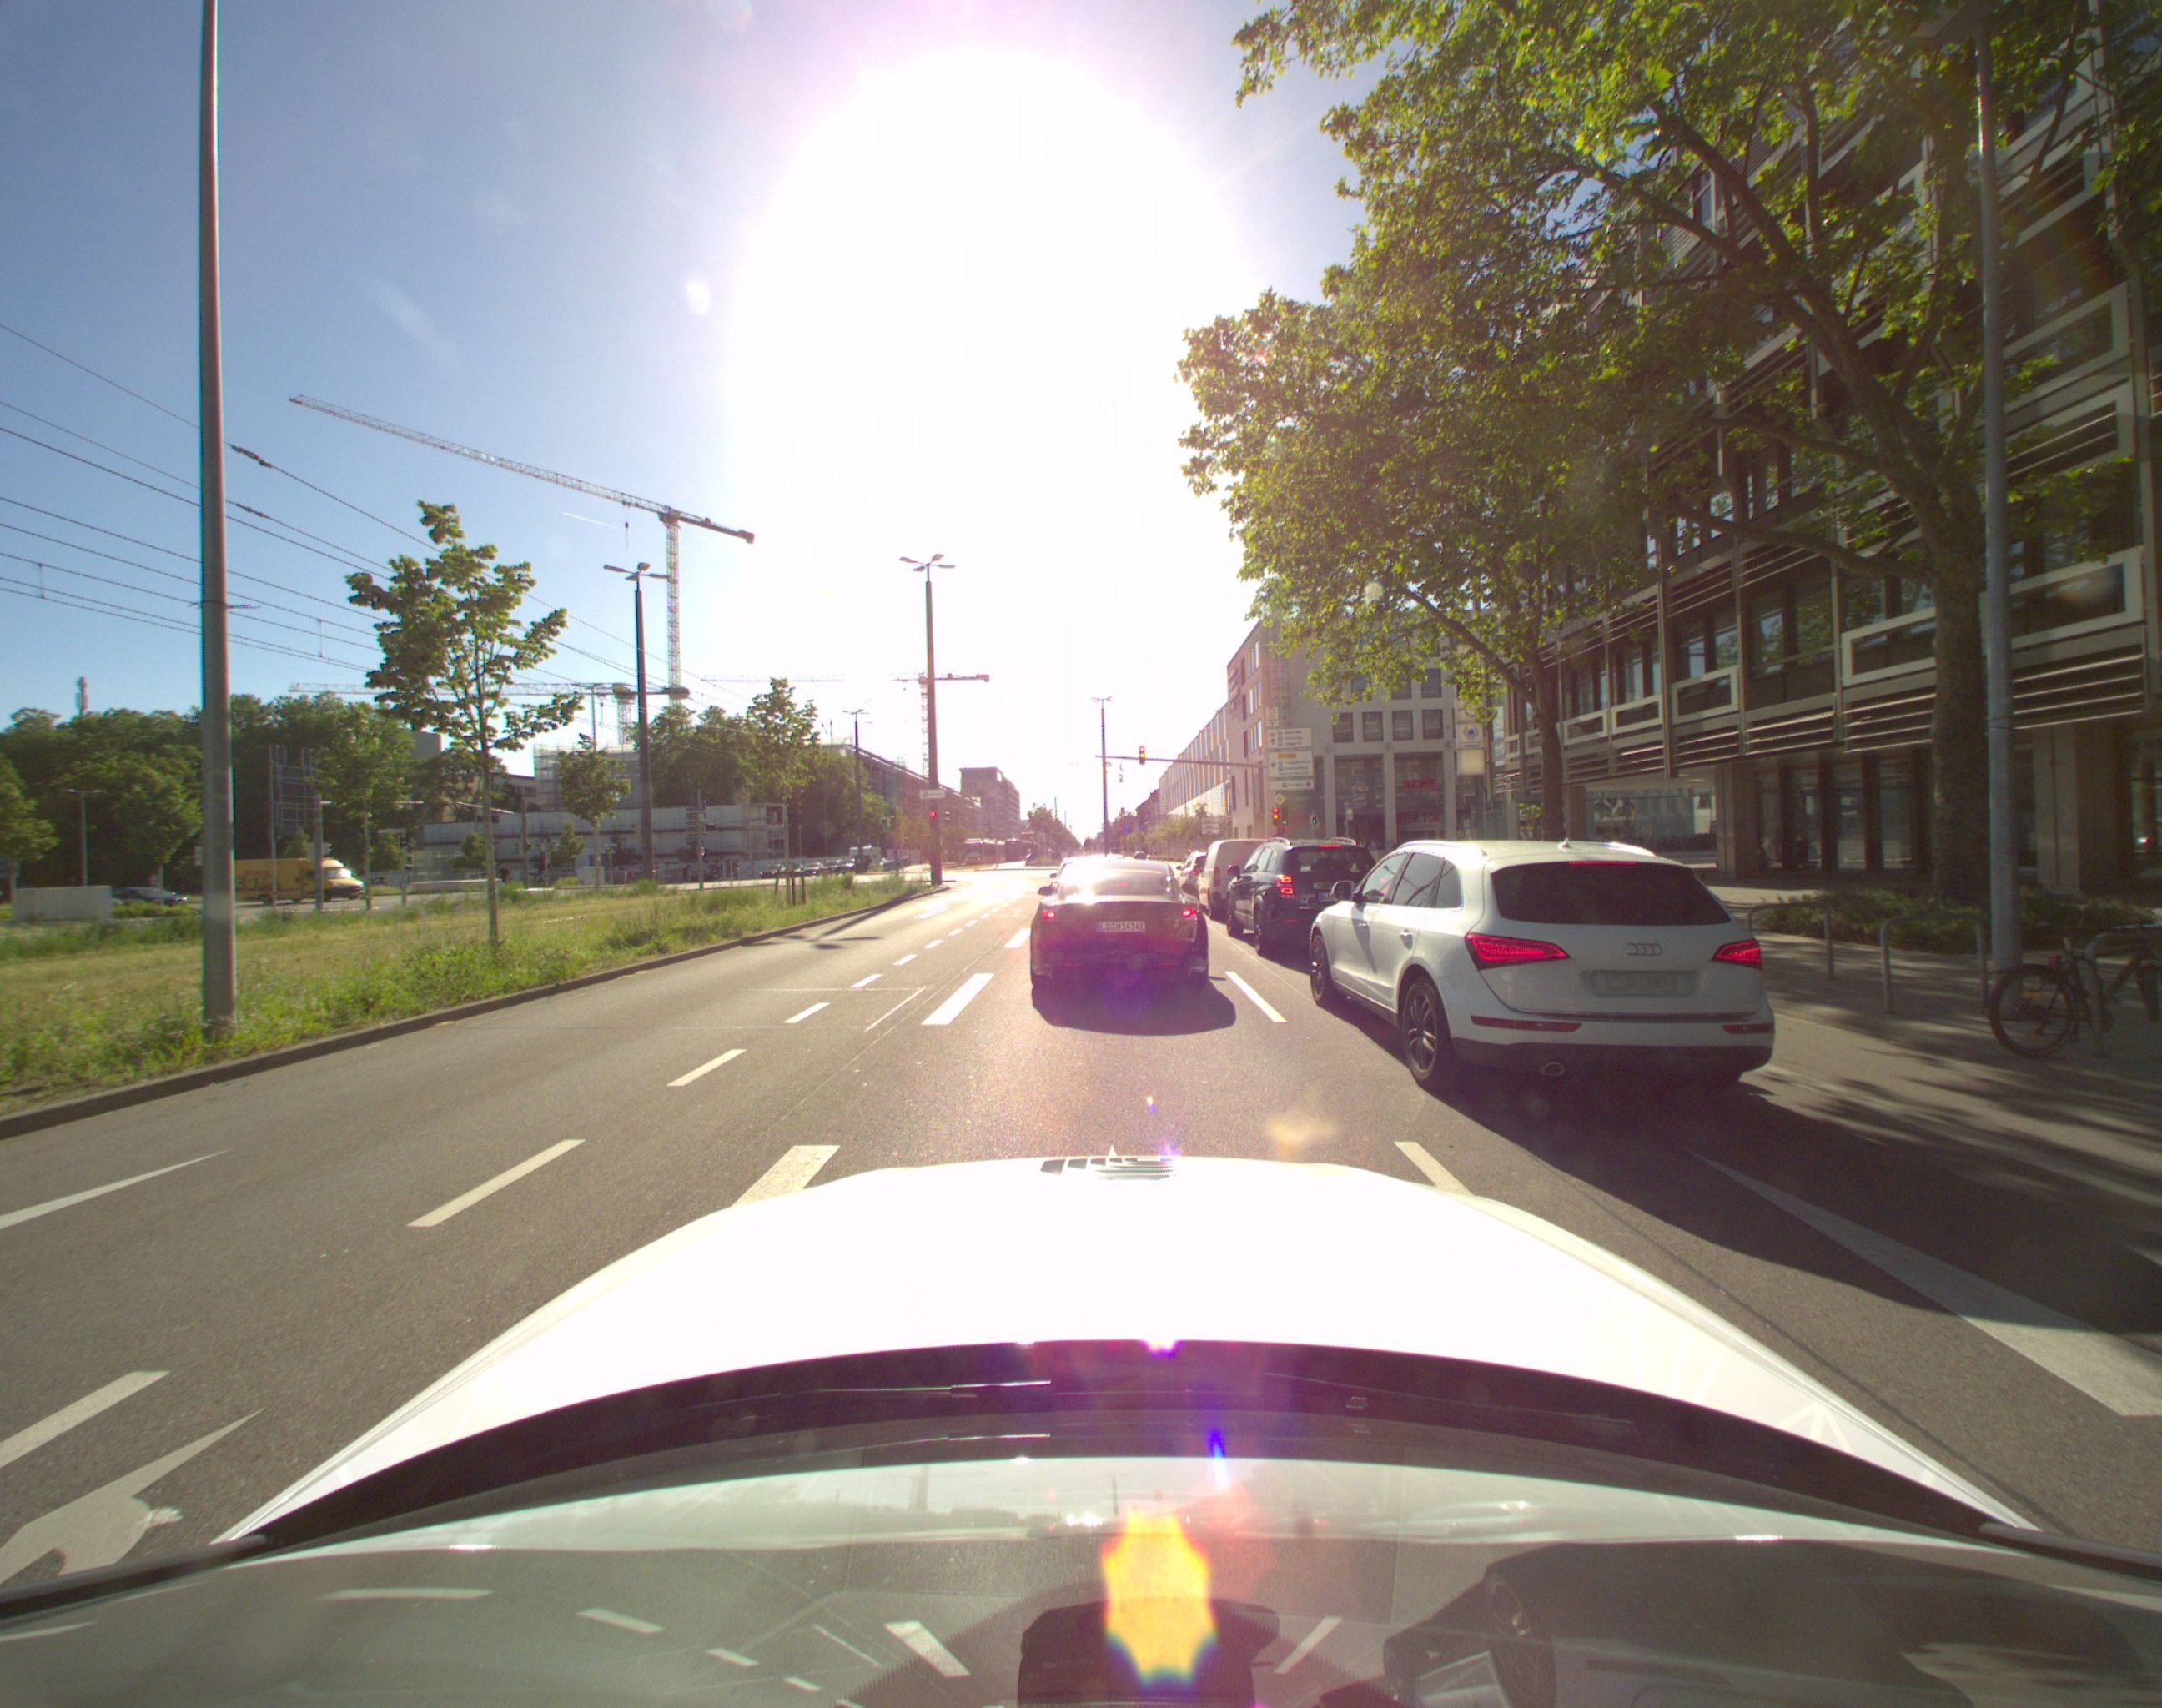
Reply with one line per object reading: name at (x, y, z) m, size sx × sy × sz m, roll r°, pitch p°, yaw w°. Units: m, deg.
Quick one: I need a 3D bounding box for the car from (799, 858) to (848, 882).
car at (-12.939, 0.795, 41.114) m, size 1.371 × 1.178 × 3.220 m, roll 0°, pitch -1°, yaw 1°

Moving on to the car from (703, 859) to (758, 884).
car at (-17.767, 0.872, 41.398) m, size 1.371 × 1.178 × 3.220 m, roll 0°, pitch -1°, yaw 1°

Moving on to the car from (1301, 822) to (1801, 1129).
car at (3.081, 0.640, 6.472) m, size 1.714 × 1.618 × 4.190 m, roll -2°, pitch 0°, yaw 3°

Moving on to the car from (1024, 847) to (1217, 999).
car at (0.427, 0.681, 10.241) m, size 1.905 × 1.486 × 4.010 m, roll -2°, pitch 0°, yaw 1°

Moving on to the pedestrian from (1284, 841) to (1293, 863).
pedestrian at (13.934, -0.140, 54.687) m, size 0.559 × 1.440 × 0.633 m, roll 0°, pitch -1°, yaw 8°

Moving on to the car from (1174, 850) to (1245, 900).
car at (4.041, 0.616, 26.173) m, size 1.715 × 1.431 × 4.188 m, roll -2°, pitch 0°, yaw 2°

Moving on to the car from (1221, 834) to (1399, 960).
car at (3.454, 0.563, 13.086) m, size 1.715 × 1.653 × 4.187 m, roll -2°, pitch 0°, yaw 1°

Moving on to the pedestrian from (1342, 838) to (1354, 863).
pedestrian at (15.995, -0.208, 48.798) m, size 0.559 × 1.440 × 0.633 m, roll 0°, pitch -1°, yaw 8°

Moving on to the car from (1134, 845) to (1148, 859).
car at (9.053, -0.286, 122.566) m, size 1.986 × 2.014 × 4.001 m, roll 0°, pitch -1°, yaw 2°

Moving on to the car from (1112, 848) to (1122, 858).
car at (6.891, -0.169, 156.968) m, size 1.986 × 2.014 × 4.001 m, roll 0°, pitch -1°, yaw 2°

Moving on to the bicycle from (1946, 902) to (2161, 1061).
bicycle at (7.321, 0.892, 5.879) m, size 1.689 × 0.957 × 0.478 m, roll -3°, pitch 0°, yaw -3°

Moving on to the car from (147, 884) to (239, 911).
car at (-53.134, 2.617, 48.768) m, size 3.967 × 1.439 × 1.603 m, roll -2°, pitch 0°, yaw 6°

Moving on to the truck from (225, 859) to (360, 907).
truck at (-49.574, 1.798, 51.246) m, size 6.930 × 2.963 × 2.003 m, roll 0°, pitch -1°, yaw 5°

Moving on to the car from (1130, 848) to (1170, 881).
car at (3.263, 0.472, 39.129) m, size 1.715 × 1.431 × 4.188 m, roll -2°, pitch 0°, yaw 2°

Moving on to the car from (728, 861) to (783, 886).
car at (-16.017, 0.931, 40.216) m, size 1.371 × 1.178 × 3.220 m, roll 0°, pitch -1°, yaw 1°

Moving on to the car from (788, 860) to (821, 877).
car at (-27.412, 1.436, 80.831) m, size 1.831 × 1.612 × 3.896 m, roll 0°, pitch -1°, yaw 1°

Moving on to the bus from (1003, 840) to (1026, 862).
bus at (-9.588, -0.401, 117.993) m, size 2.620 × 2.959 × 9.893 m, roll 0°, pitch -1°, yaw -1°

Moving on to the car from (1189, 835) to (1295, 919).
car at (3.764, 0.485, 19.750) m, size 1.716 × 1.782 × 4.186 m, roll -2°, pitch 0°, yaw 0°

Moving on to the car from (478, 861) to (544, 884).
car at (-40.092, 1.292, 57.409) m, size 1.704 × 1.556 × 4.001 m, roll 0°, pitch -1°, yaw 2°

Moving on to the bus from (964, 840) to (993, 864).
bus at (-12.648, -0.194, 101.310) m, size 2.620 × 2.783 × 8.839 m, roll 0°, pitch -1°, yaw -1°
